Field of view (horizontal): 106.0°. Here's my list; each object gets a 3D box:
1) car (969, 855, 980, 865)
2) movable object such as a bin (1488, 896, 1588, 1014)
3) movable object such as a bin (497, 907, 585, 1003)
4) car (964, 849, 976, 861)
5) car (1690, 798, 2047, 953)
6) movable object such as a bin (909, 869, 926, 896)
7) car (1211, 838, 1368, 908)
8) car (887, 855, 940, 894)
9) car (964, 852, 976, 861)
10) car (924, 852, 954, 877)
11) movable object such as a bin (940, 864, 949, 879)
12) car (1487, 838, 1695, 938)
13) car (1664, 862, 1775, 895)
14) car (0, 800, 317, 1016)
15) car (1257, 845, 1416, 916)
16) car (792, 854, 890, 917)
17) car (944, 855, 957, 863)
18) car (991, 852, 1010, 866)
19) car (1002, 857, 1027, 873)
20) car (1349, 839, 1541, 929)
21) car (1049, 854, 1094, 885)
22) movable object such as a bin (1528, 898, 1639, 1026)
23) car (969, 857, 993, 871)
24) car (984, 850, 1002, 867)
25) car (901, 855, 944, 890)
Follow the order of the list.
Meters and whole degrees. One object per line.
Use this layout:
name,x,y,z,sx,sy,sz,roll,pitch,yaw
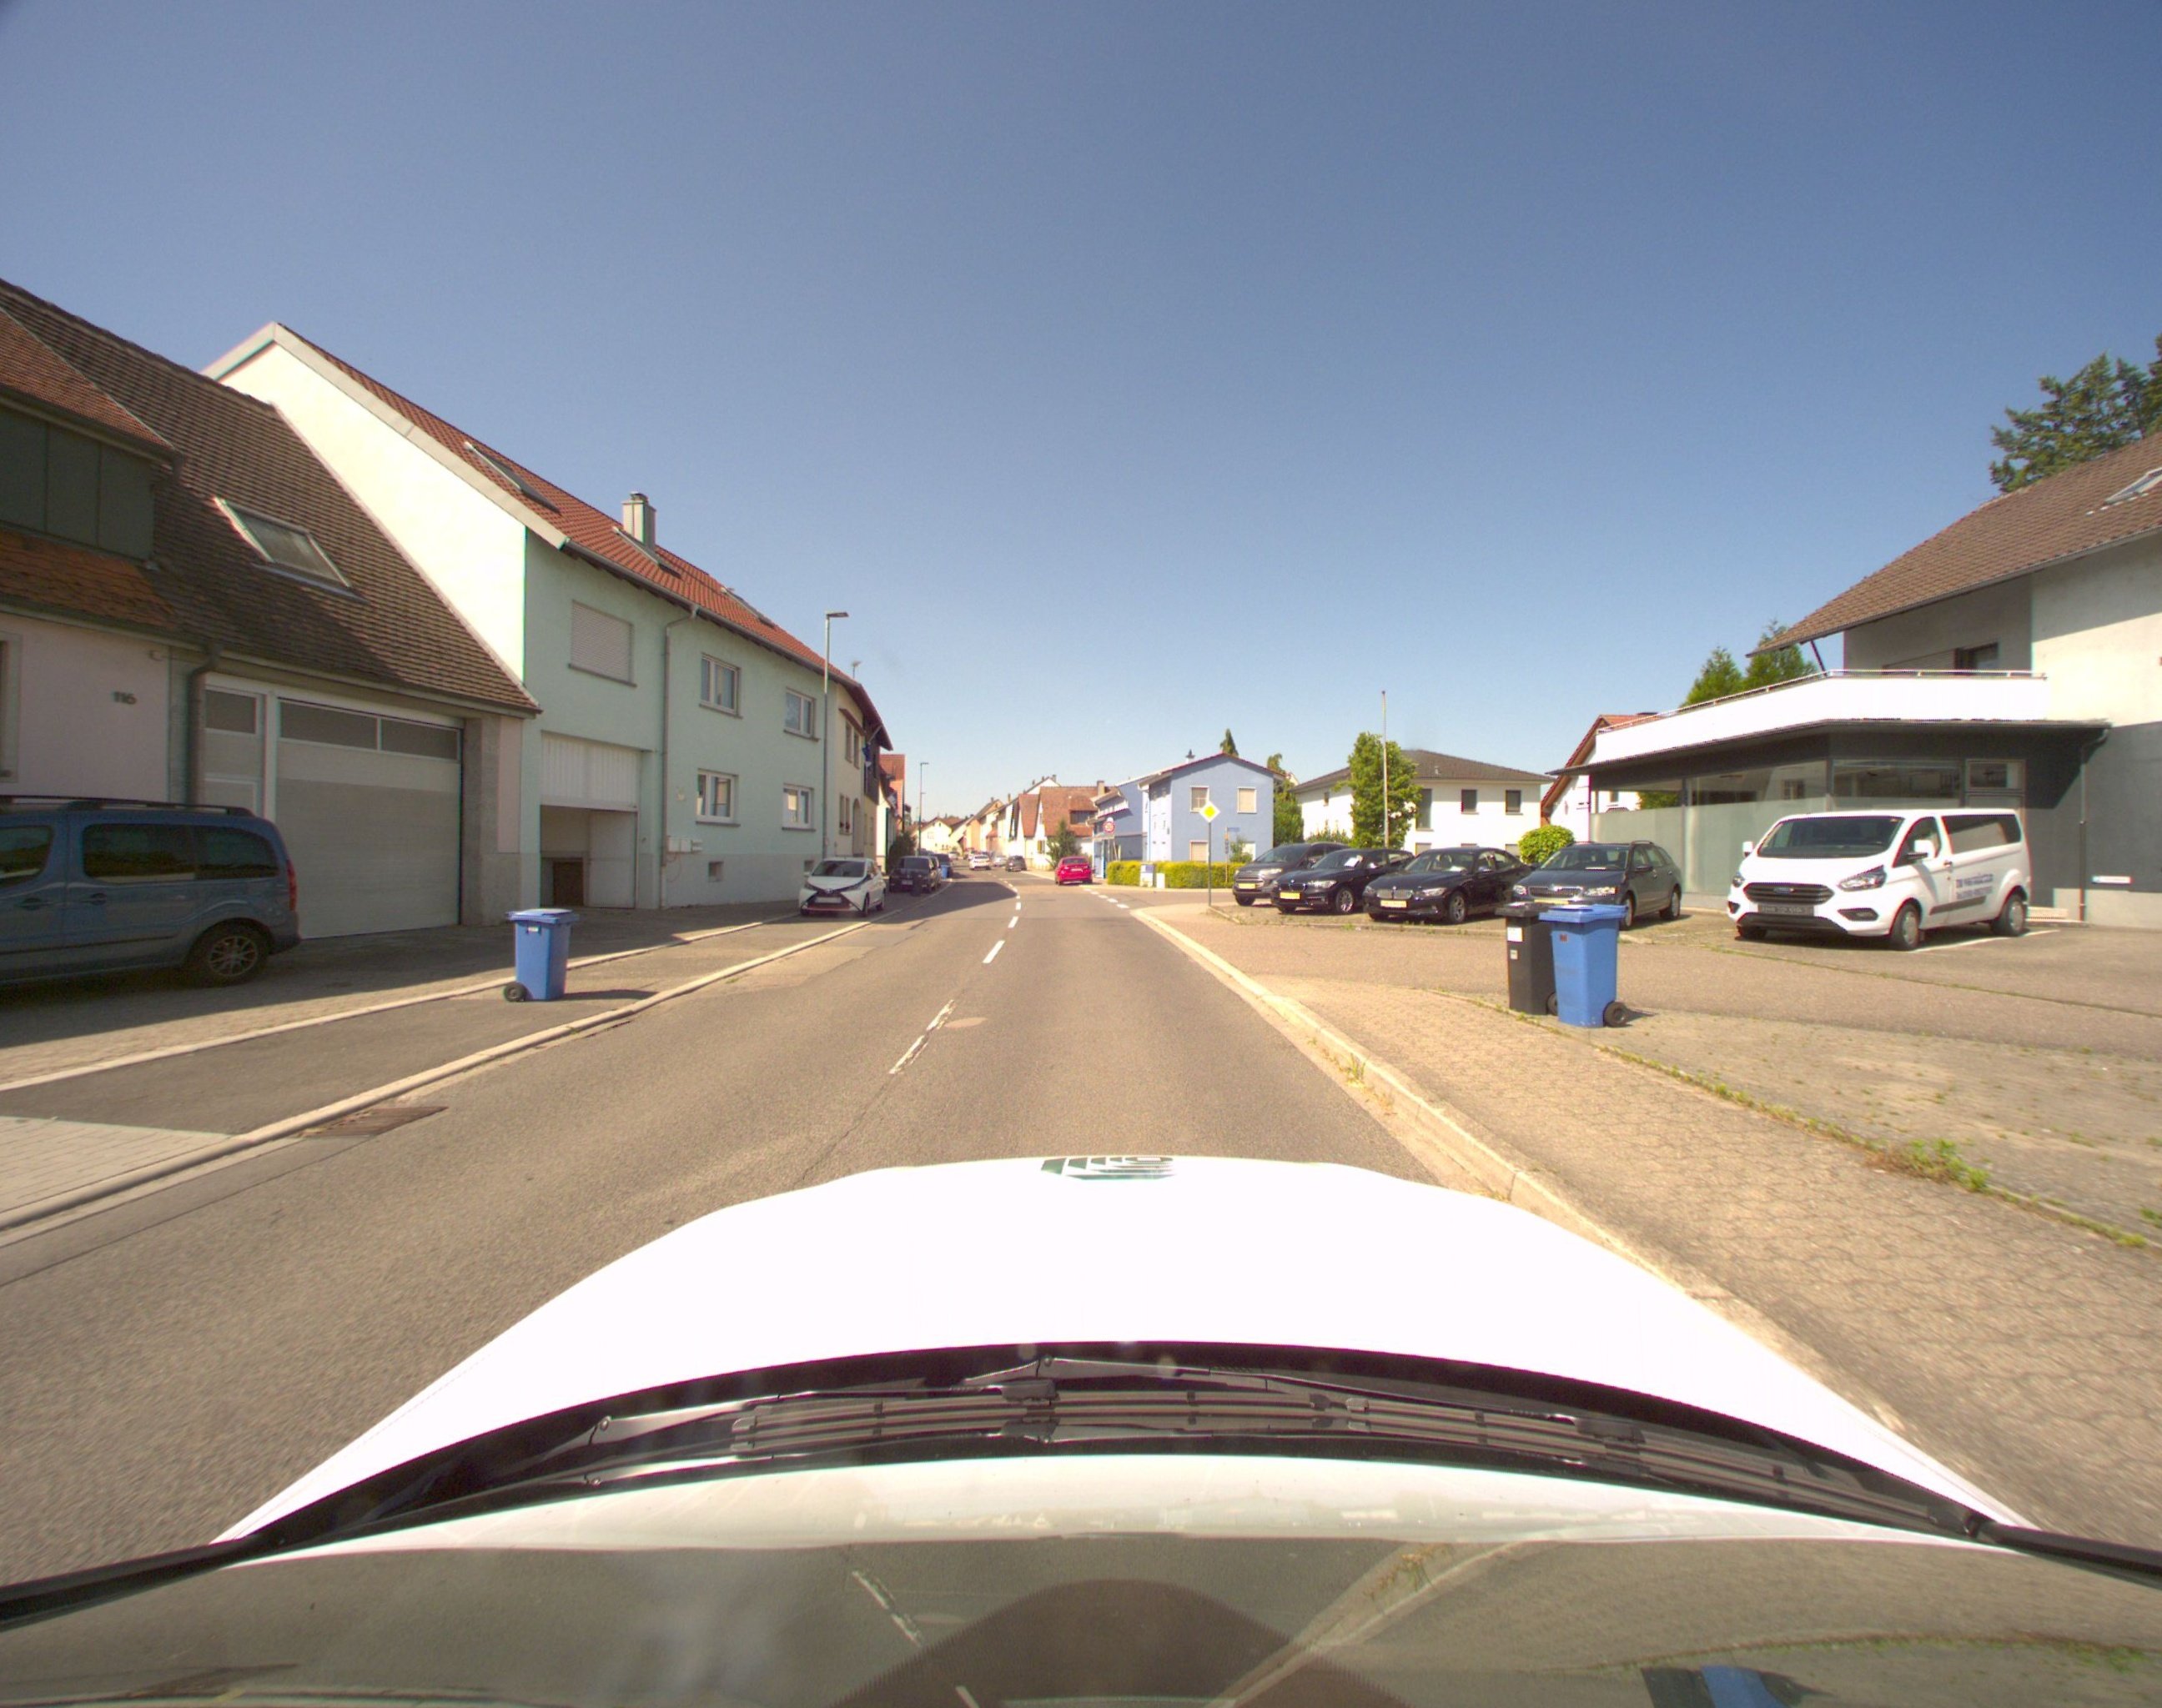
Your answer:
car,-16.111,0.865,123.203,1.421,1.515,3.290,1,0,-13
movable object such as a bin,3.916,0.844,7.001,0.557,0.936,0.513,0,0,-8
movable object such as a bin,-5.670,1.048,8.572,0.557,0.936,0.513,2,-1,-8
car,-18.540,0.189,136.016,1.768,2.004,3.436,0,0,-11
car,12.307,0.267,12.709,5.293,2.013,2.214,0,0,-24
movable object such as a bin,-6.059,1.065,30.159,0.551,0.928,0.822,5,-1,-12
car,5.494,0.432,21.245,4.133,1.653,1.810,0,0,-38
car,-6.896,0.810,33.826,1.676,1.437,3.987,3,-1,-6
car,-17.866,0.433,131.371,1.768,1.433,3.436,0,0,-11
car,-10.045,0.747,57.899,1.920,1.668,4.650,3,-1,-9
movable object such as a bin,-8.909,1.131,53.125,0.596,0.982,0.529,2,-1,-10
car,9.368,0.520,14.826,4.339,1.550,1.961,0,0,-40
car,29.827,1.113,38.217,1.688,1.429,4.383,1,-1,-3
car,-9.840,0.409,7.066,1.825,1.793,4.355,3,0,11
car,5.895,0.539,18.591,3.894,1.447,1.730,0,0,-42
car,-6.136,0.770,21.205,1.681,1.462,3.644,1,-1,-4
car,-21.196,0.760,132.204,1.995,1.288,3.788,0,0,-12
car,-8.964,0.542,90.254,1.706,1.497,3.437,1,0,-13
car,-6.030,0.975,73.506,1.706,1.433,3.873,1,0,-13
car,7.412,0.520,16.385,4.262,1.565,1.960,0,0,-42
car,-0.540,0.772,42.558,1.732,1.494,4.341,-1,1,-9
movable object such as a bin,3.989,0.840,6.490,0.557,0.939,0.513,0,0,-8
car,-9.652,0.968,78.417,1.995,1.288,3.983,0,0,-12
car,-10.326,0.466,95.293,1.651,1.910,3.610,1,0,-13
car,-7.601,0.869,39.294,1.638,1.501,3.773,3,-1,-6
